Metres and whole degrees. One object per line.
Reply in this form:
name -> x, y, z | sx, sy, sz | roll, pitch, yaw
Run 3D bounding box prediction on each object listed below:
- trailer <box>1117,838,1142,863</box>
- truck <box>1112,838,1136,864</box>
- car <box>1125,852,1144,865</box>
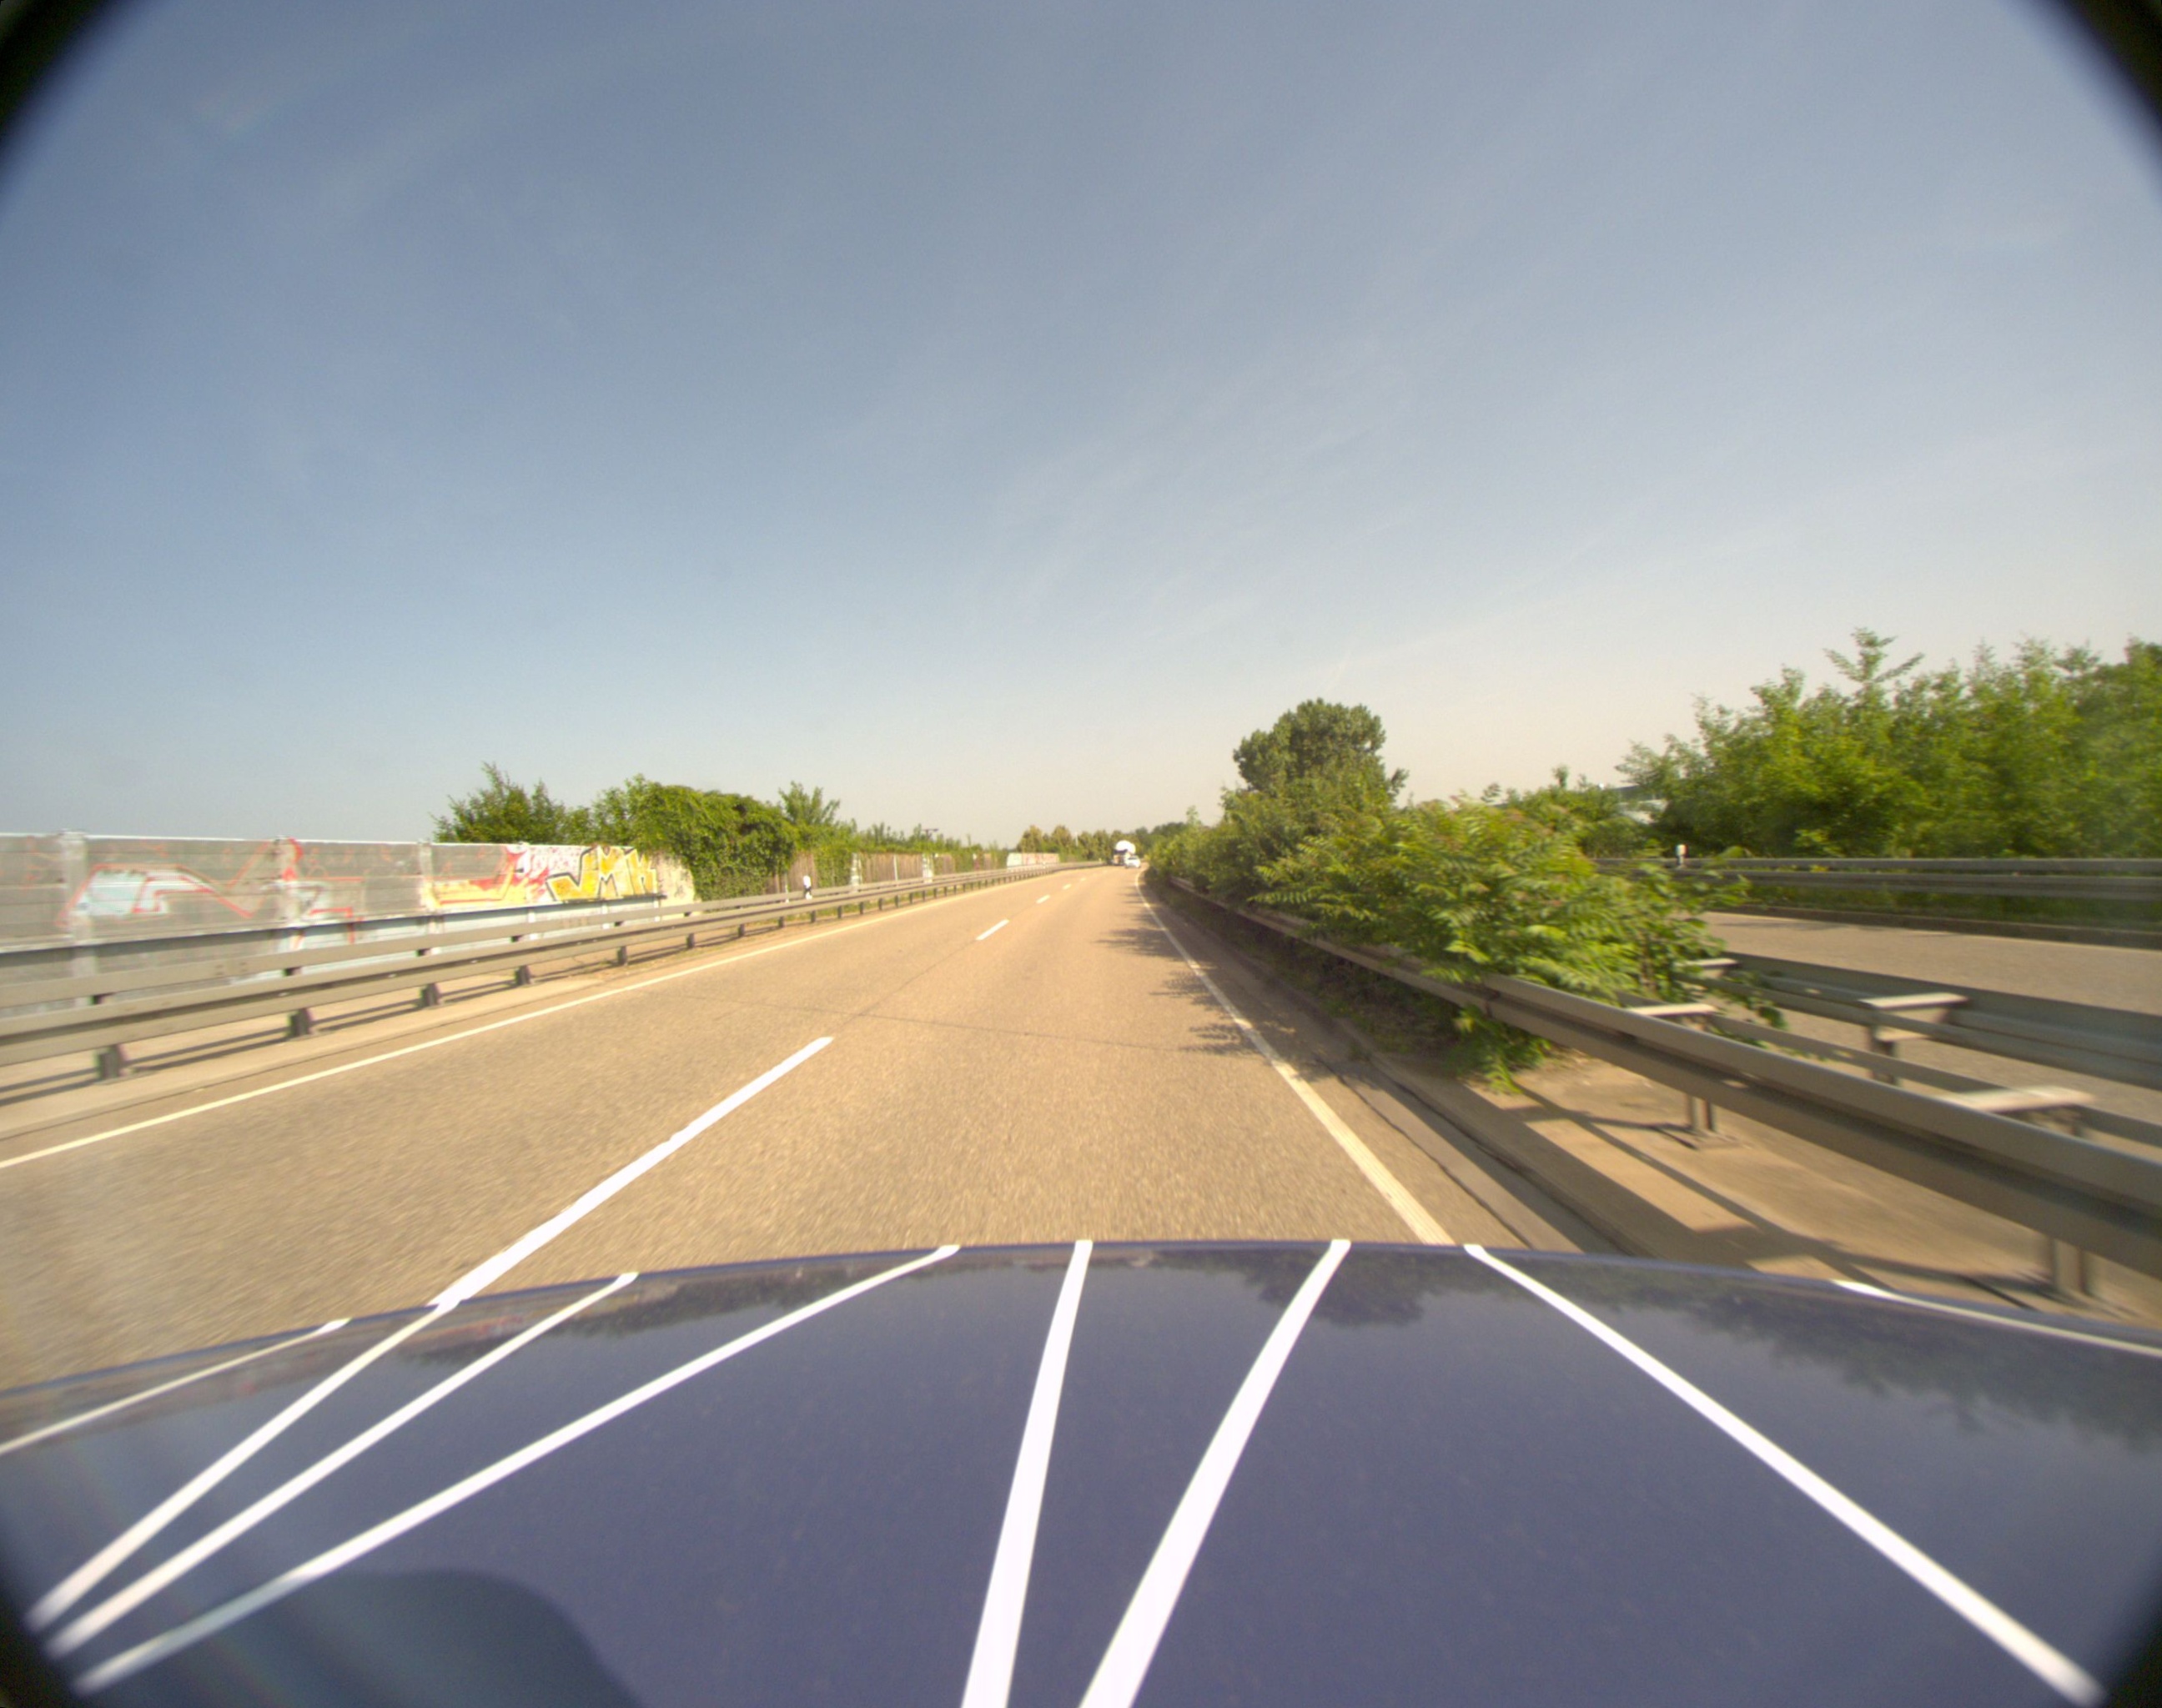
trailer -> 8.083, -0.693, 126.389 | 2.761, 3.968, 8.192 | -2, 1, 12
truck -> 6.861, -0.450, 120.837 | 2.776, 3.939, 5.632 | -2, 1, 13
car -> 6.564, 0.502, 92.920 | 1.788, 1.427, 4.003 | -3, 1, 11
